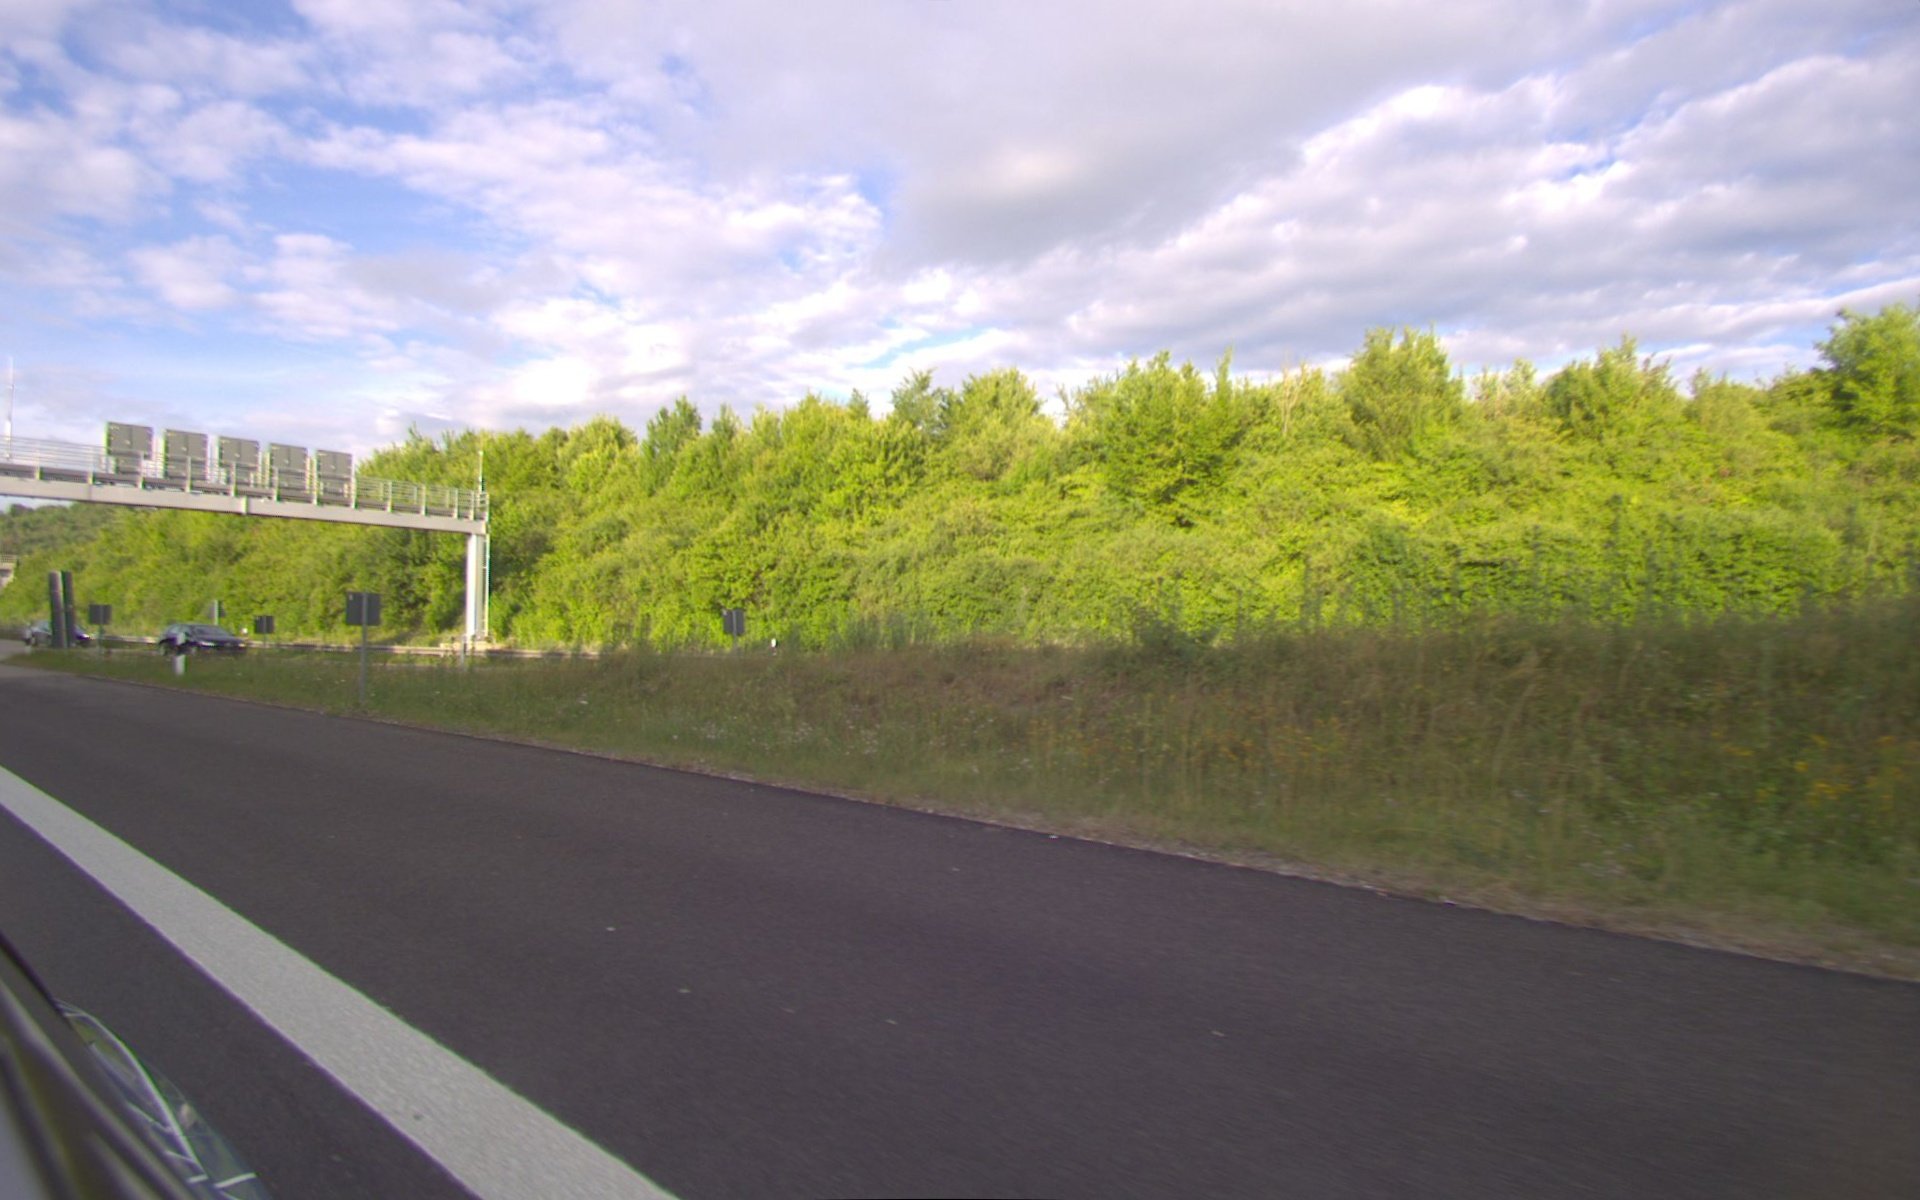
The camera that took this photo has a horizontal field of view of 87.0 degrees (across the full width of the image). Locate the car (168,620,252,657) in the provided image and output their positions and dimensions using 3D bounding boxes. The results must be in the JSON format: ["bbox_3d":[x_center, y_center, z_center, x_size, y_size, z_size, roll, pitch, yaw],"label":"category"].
[{"bbox_3d":[-30.600,1.537,41.255,3.995,1.417,1.741,0,-2,38],"label":"car"}]

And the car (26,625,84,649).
[{"bbox_3d":[-52.361,2.107,58.562,3.995,1.301,1.857,0,-1,38],"label":"car"}]
